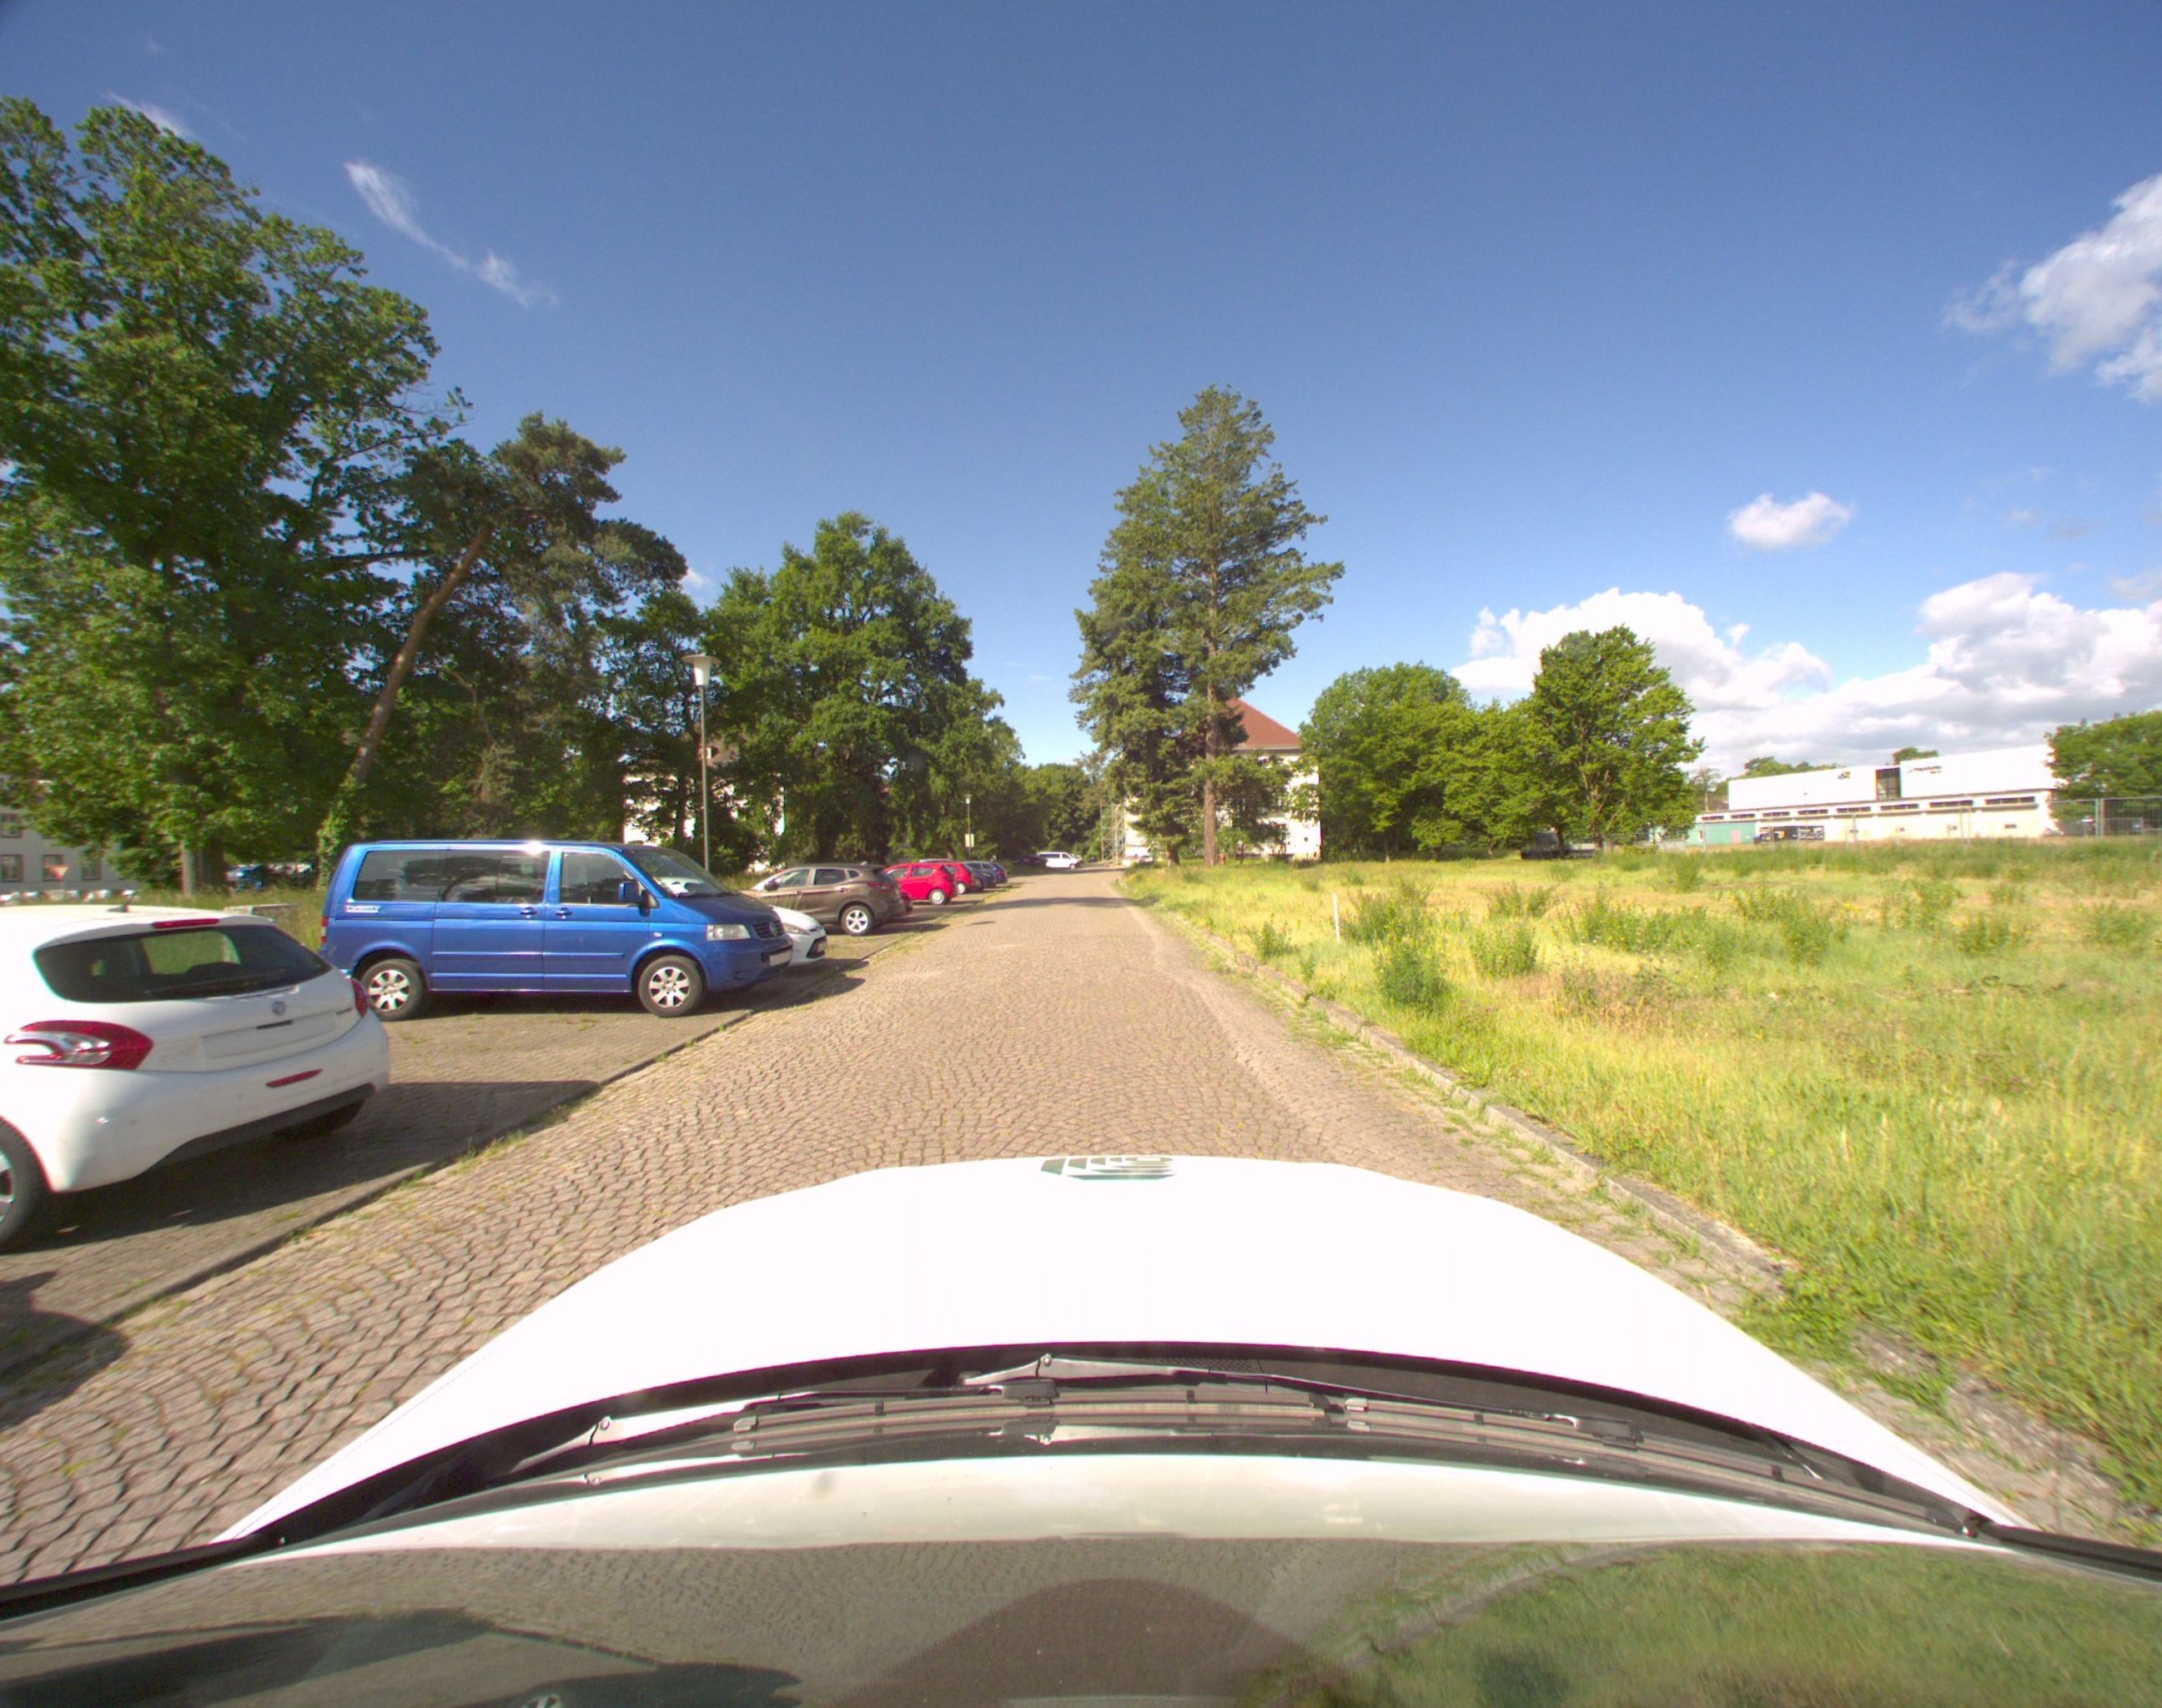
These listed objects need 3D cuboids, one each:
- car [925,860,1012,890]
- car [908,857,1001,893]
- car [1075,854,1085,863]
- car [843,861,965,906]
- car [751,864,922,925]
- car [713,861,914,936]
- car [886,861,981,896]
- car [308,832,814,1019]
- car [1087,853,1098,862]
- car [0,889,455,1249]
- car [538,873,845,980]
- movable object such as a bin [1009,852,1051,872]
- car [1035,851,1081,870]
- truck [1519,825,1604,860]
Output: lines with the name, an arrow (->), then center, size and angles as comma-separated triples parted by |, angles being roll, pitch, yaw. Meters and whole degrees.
car -> -6.021, 1.124, 43.946 | 4.343, 1.445, 1.922 | -1, 0, 2
car -> -6.048, 0.991, 39.263 | 4.123, 1.579, 1.884 | -1, 0, -1
car -> -0.153, 0.893, 158.927 | 1.807, 1.579, 4.133 | -2, 0, -1
car -> -6.227, 1.035, 28.979 | 3.913, 1.461, 1.840 | -1, 0, -2
car -> -6.311, 1.025, 21.384 | 3.913, 1.449, 1.865 | 0, 0, -2
car -> -6.004, 0.976, 18.658 | 3.943, 1.567, 1.972 | 0, 1, -2
car -> -6.638, 1.077, 36.893 | 3.910, 1.433, 1.842 | -1, 0, 0
car -> -5.879, 0.767, 9.727 | 4.703, 1.968, 2.005 | 0, 0, -1
car -> 2.240, 0.752, 159.273 | 1.965, 1.668, 4.084 | -2, 0, -1
car -> -6.231, 0.995, 4.424 | 4.184, 1.475, 1.823 | -1, 0, -1
car -> -5.718, 1.034, 12.331 | 3.808, 1.440, 1.681 | 0, 0, -4
movable object such as a bin -> -4.970, 0.763, 79.745 | 3.537, 1.744, 2.034 | -2, 0, 18
car -> -2.598, 0.770, 92.883 | 5.219, 2.016, 1.949 | -2, 0, -2
truck -> 35.613, -0.800, 60.666 | 2.227, 2.424, 6.882 | 0, 0, -1
